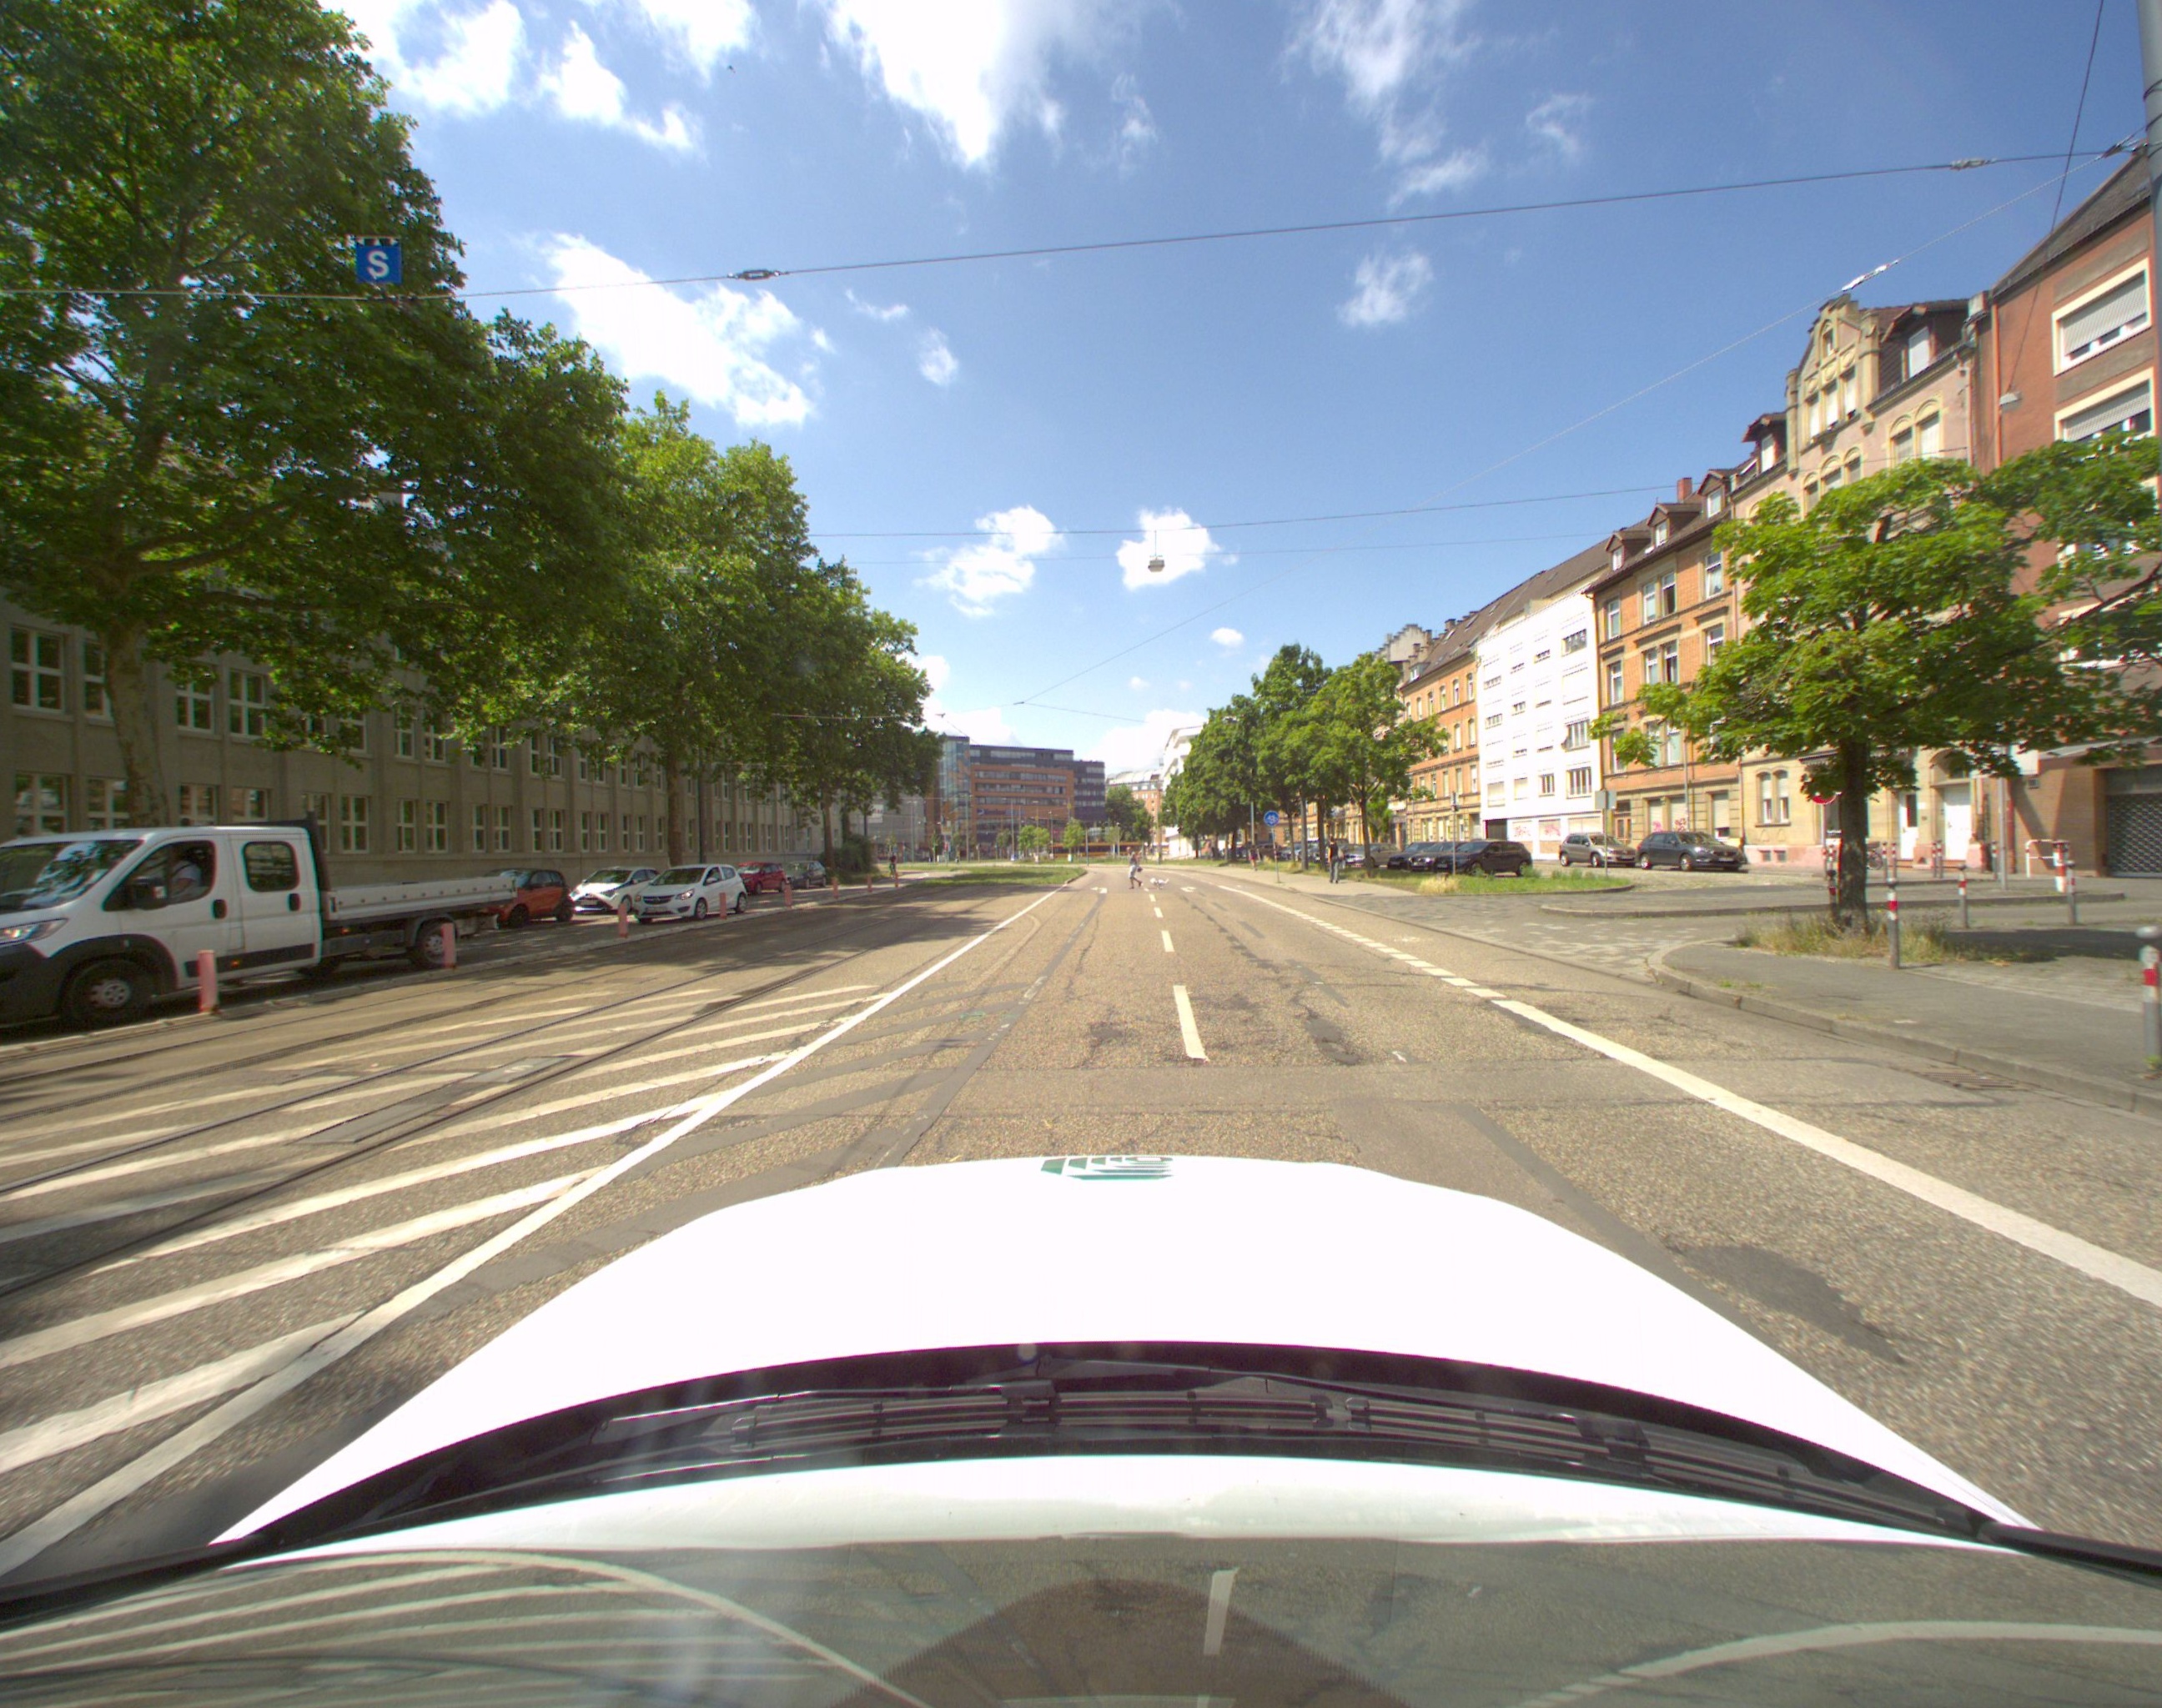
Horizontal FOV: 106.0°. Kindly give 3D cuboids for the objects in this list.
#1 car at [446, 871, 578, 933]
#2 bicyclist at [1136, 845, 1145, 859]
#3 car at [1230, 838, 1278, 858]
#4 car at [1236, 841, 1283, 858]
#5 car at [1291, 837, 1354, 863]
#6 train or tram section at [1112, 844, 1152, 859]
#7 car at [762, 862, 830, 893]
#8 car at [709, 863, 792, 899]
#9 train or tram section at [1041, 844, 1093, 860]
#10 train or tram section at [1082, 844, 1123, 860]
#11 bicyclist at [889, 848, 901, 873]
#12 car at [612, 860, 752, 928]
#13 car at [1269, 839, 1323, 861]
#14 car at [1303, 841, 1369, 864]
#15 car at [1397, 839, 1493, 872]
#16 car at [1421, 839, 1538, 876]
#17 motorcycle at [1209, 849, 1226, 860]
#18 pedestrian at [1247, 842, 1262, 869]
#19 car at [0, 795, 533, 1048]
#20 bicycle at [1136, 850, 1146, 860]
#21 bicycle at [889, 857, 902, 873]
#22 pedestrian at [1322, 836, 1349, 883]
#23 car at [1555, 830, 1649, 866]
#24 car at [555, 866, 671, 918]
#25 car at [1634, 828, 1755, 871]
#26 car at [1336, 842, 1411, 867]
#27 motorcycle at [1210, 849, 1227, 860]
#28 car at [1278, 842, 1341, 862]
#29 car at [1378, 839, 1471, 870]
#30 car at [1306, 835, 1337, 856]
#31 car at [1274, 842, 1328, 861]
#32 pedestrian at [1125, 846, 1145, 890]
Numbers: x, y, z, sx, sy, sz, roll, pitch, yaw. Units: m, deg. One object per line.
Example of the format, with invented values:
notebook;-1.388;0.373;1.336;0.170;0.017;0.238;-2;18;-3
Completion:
car;-15.236;1.250;21.975;1.481;1.453;2.883;0;1;0
bicyclist;7.971;-0.236;109.059;0.688;1.824;0.962;-3;1;26
car;17.454;-0.589;82.170;4.642;1.927;1.899;0;0;-29
car;17.395;-0.452;79.201;4.181;1.656;1.901;0;0;-25
car;16.727;-0.305;56.394;4.383;1.741;1.833;0;0;-34
train or tram section;12.849;-0.509;202.415;3.026;3.621;12.715;0;0;39
car;-14.513;1.160;41.723;1.920;1.369;4.318;0;1;1
car;-14.845;1.184;36.850;1.918;1.420;4.053;0;1;3
train or tram section;-3.067;-0.435;184.382;3.186;3.599;13.582;0;0;43
train or tram section;5.144;-0.430;193.408;3.027;3.603;11.058;-1;0;43
bicyclist;-12.764;0.452;55.981;0.762;1.704;0.779;0;0;-15
car;-10.642;1.012;22.052;1.754;1.480;3.789;-4;1;1
car;17.560;-0.362;66.548;4.161;1.741;1.835;0;0;-29
car;16.411;-0.094;52.376;4.286;1.380;1.833;0;0;-34
car;16.047;0.042;35.898;4.013;1.380;1.942;0;0;-31
car;15.707;0.125;32.103;4.001;1.354;1.948;0;0;-21
motorcycle;15.198;0.032;90.876;1.777;1.167;0.640;-1;0;0
pedestrian;10.408;0.111;48.810;0.698;1.592;0.905;0;0;1
car;-11.119;0.672;11.079;2.246;2.374;6.985;-3;0;3
bicycle;8.005;0.098;109.023;0.687;1.242;1.850;-3;1;25
bicycle;-12.755;0.749;55.909;0.791;1.110;2.266;0;0;-14
pedestrian;9.329;0.193;29.865;0.698;1.704;1.045;0;0;1
car;25.036;-0.282;39.360;1.824;1.615;4.499;0;0;3
car;-15.152;1.190;26.600;1.740;1.453;3.492;0;1;0
car;24.698;-0.183;32.995;1.823;1.615;4.502;0;0;5
car;16.556;0.013;46.079;4.286;1.380;1.833;0;0;-34
motorcycle;15.168;0.045;89.842;1.777;1.167;0.640;-1;0;0
car;16.930;-0.149;60.198;4.710;1.380;1.834;0;0;-32
car;16.379;0.014;38.868;4.007;1.380;1.945;0;0;-26
car;26.126;-0.864;88.620;2.102;2.178;5.398;0;0;3
car;17.153;-0.216;63.486;4.100;1.405;1.833;0;0;-33
pedestrian;2.131;0.539;31.967;0.777;1.704;0.703;0;0;4
